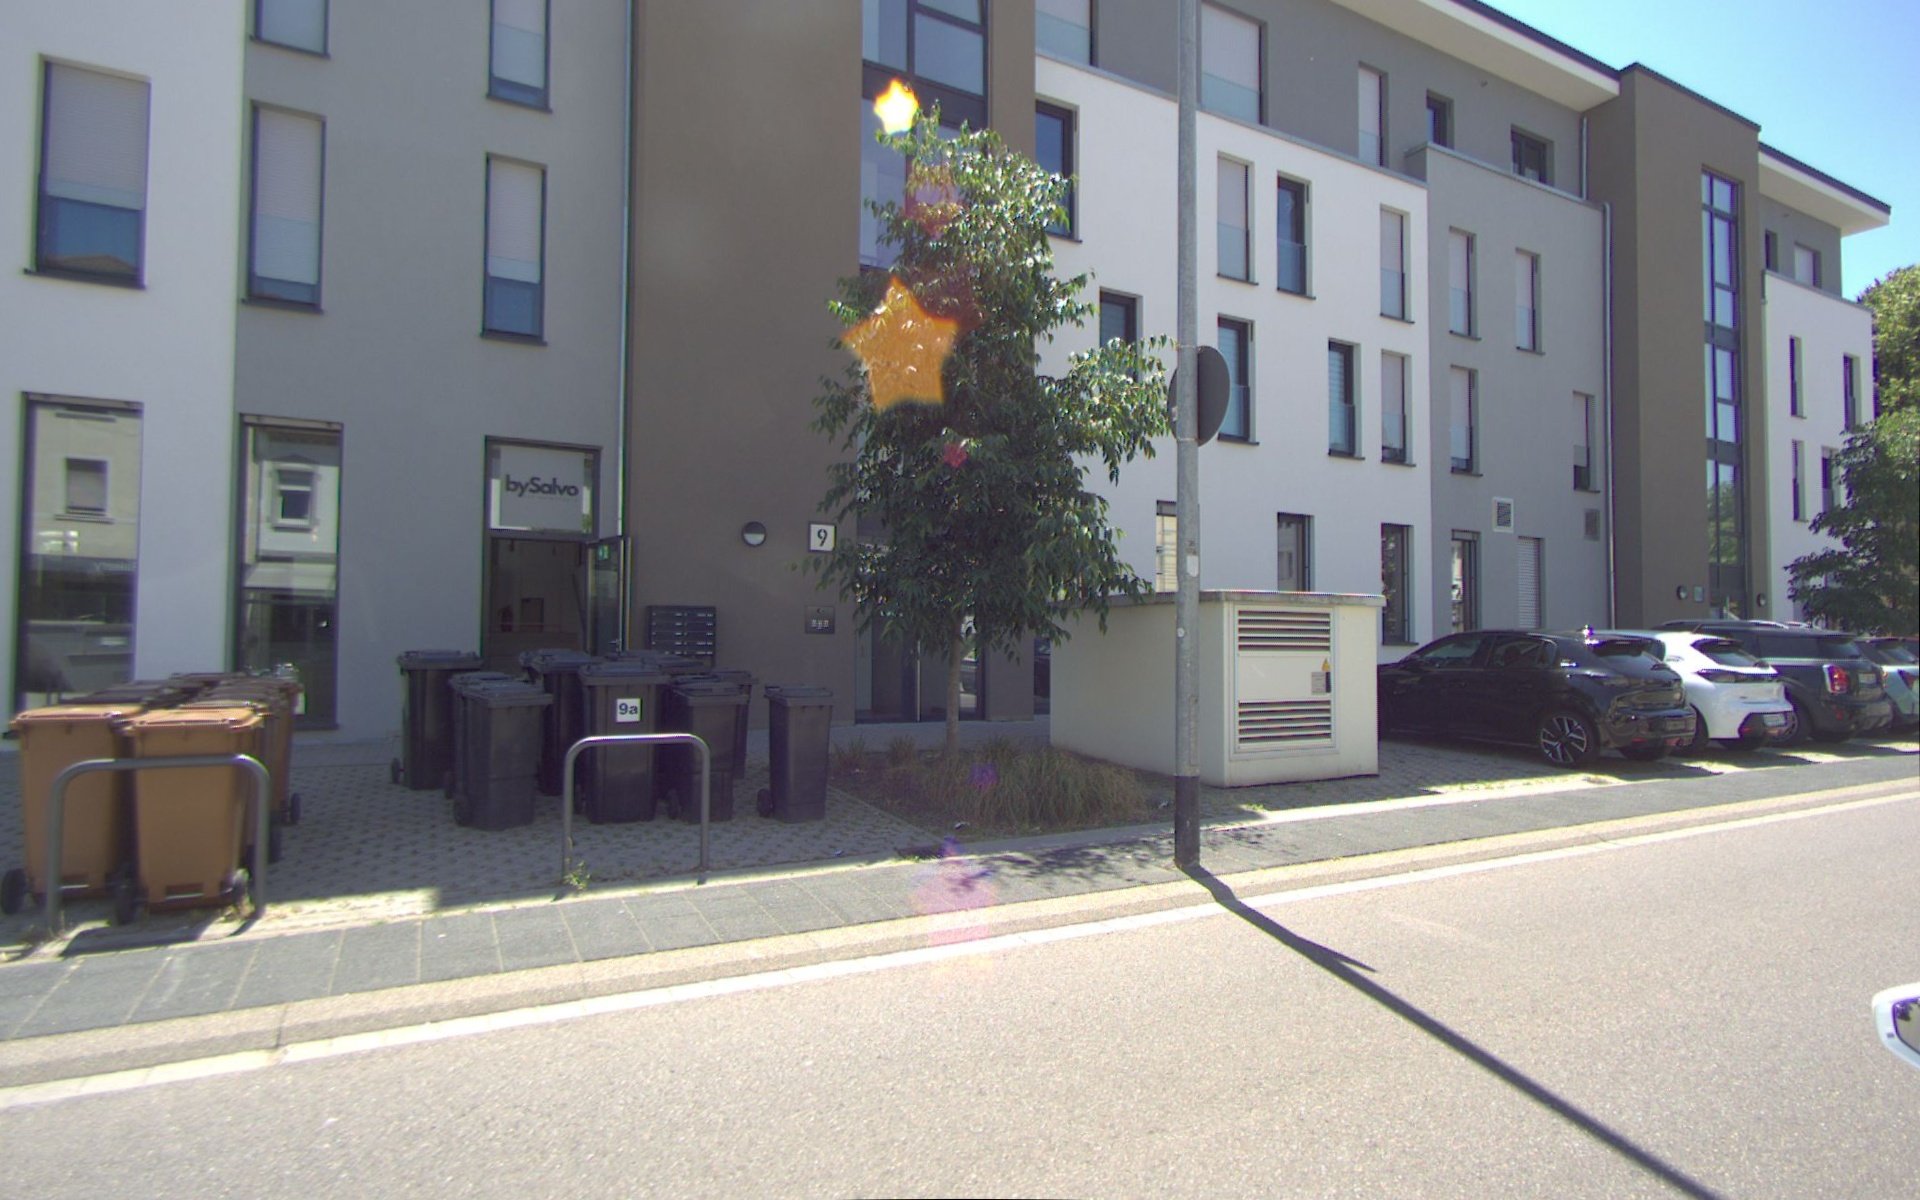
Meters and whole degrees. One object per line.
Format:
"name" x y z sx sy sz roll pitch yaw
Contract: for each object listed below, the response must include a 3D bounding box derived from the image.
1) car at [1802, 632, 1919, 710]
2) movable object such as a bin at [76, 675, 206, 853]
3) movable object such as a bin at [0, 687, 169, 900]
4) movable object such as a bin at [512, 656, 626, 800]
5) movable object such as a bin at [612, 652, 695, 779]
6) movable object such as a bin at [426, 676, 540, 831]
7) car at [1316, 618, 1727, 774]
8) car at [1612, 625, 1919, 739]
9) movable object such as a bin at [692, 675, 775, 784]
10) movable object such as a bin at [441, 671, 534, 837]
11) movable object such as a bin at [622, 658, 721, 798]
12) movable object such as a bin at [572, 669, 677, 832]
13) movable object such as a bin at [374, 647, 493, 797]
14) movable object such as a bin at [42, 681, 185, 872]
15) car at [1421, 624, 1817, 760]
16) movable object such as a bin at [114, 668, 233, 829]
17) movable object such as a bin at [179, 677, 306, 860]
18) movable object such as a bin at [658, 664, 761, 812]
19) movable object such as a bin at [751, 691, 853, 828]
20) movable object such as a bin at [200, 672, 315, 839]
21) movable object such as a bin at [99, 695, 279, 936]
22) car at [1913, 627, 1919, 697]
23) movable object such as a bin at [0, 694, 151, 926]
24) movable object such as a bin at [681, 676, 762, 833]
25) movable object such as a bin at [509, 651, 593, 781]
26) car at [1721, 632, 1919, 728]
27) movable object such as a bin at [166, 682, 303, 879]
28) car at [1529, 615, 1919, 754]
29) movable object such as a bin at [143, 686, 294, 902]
"car" 19.157 1.386 19.326 1.865 1.456 4.177 2 -1 -32
"movable object such as a bin" -5.027 0.981 6.196 0.520 1.011 0.481 2 -2 -30
"movable object such as a bin" -4.584 0.975 5.268 0.581 1.011 0.481 2 -2 -29
"movable object such as a bin" -3.066 0.969 7.873 0.668 1.052 0.601 -1 -3 45
"movable object such as a bin" -2.697 0.992 8.837 0.548 1.052 0.479 -1 -3 45
"movable object such as a bin" -3.549 1.109 7.477 0.613 1.052 0.579 -1 -3 45
"car" 6.558 0.998 12.213 1.974 1.535 3.973 1 -1 -26
"car" 12.982 1.191 15.921 1.973 1.516 4.020 2 -1 -25
"movable object such as a bin" -1.962 1.105 8.709 0.548 0.879 0.479 -1 -3 45
"movable object such as a bin" -3.095 0.978 6.577 0.401 1.011 0.549 2 -3 -41
"movable object such as a bin" -2.315 0.999 8.061 0.570 1.052 0.547 -1 -3 45
"movable object such as a bin" -2.316 1.003 6.923 0.554 1.033 0.551 2 -2 -33
"movable object such as a bin" -4.183 0.931 7.985 0.685 1.110 0.643 -1 -3 45
"movable object such as a bin" -4.825 0.979 5.752 0.517 1.011 0.423 2 -2 -28
"car" 8.435 1.082 13.250 1.885 1.440 3.972 2 -1 -27
"movable object such as a bin" -5.293 0.973 6.789 0.582 1.011 0.480 2 -2 -35
"movable object such as a bin" -4.263 0.976 5.996 0.549 1.011 0.401 2 -2 -30
"movable object such as a bin" -1.907 1.020 7.642 0.548 1.052 0.542 -1 -3 45
"movable object such as a bin" -1.122 1.104 7.116 0.548 0.879 0.479 -1 -3 45
"movable object such as a bin" -4.545 0.985 6.524 0.549 1.011 0.401 2 -2 -30
"movable object such as a bin" -3.613 0.975 4.752 0.581 1.011 0.481 2 -2 -30
"car" 23.791 1.427 21.597 1.975 1.612 4.436 2 -1 -28
"movable object such as a bin" -4.313 0.974 4.819 0.581 1.011 0.480 2 -2 -32
"movable object such as a bin" -1.673 1.051 7.018 0.421 1.011 0.552 1 -2 -26
"movable object such as a bin" -3.511 0.970 8.619 0.548 1.052 0.479 -1 -3 45
"car" 15.533 1.303 16.818 1.973 1.449 4.020 2 -1 -25
"movable object such as a bin" -4.040 0.980 5.621 0.549 1.011 0.401 2 -2 -30
"car" 10.663 1.075 14.360 1.973 1.673 4.020 2 -1 -25
"movable object such as a bin" -3.795 0.964 5.172 0.549 1.011 0.401 2 -2 -30
